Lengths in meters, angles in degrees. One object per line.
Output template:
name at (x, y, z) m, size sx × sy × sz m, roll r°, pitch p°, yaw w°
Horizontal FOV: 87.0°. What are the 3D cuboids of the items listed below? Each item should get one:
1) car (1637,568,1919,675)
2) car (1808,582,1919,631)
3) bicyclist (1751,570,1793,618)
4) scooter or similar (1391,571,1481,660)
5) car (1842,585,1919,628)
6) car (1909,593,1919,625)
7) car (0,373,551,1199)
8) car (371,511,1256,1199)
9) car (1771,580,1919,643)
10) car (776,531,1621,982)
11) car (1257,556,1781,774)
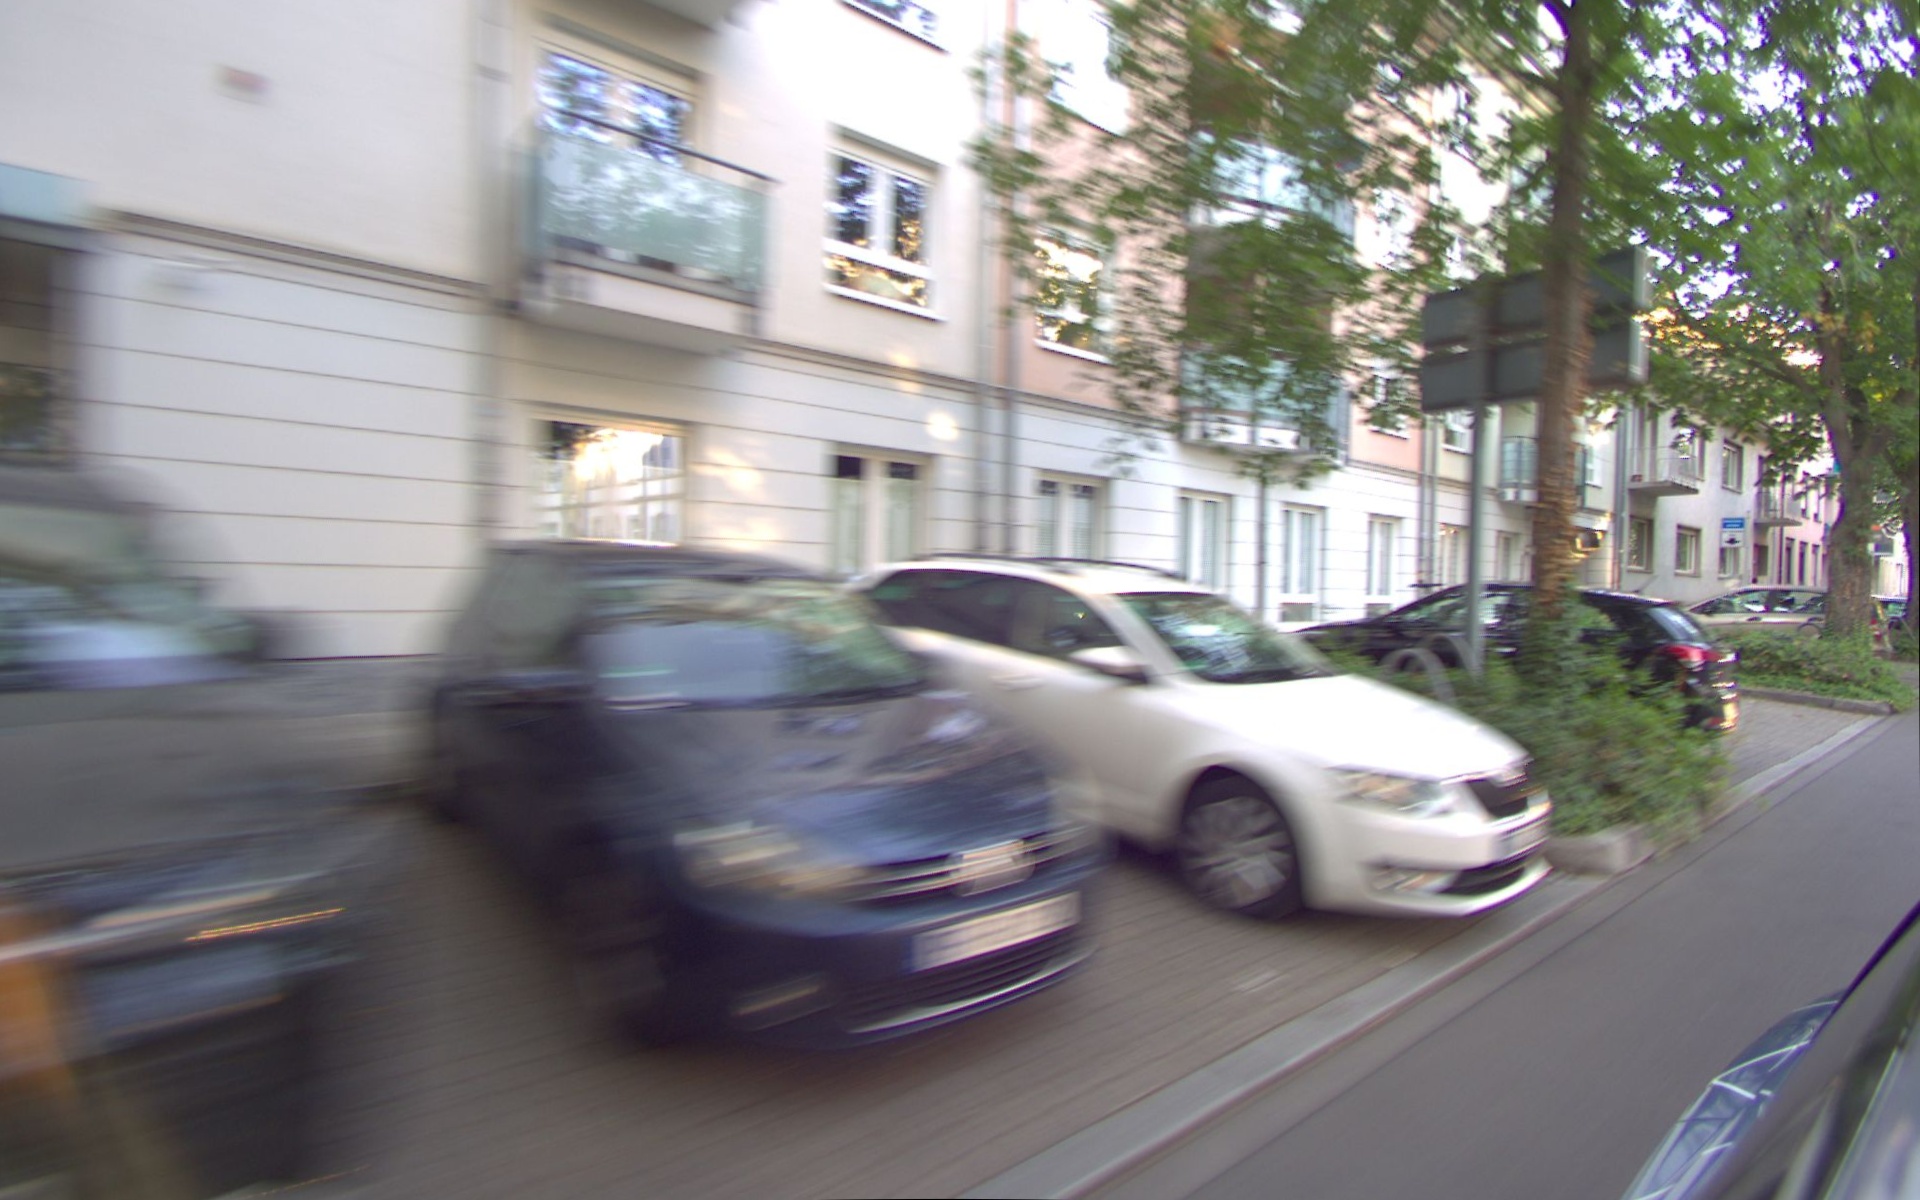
car at (15.502, 0.317, 19.230) m, size 1.883 × 1.604 × 3.978 m, roll 0°, pitch 4°, yaw -41°
car at (31.571, 0.275, 33.771) m, size 1.964 × 1.405 × 4.691 m, roll 0°, pitch 4°, yaw -39°
bicyclist at (28.465, -0.225, 35.468) m, size 1.117 × 1.624 × 0.971 m, roll 0°, pitch 1°, yaw -44°
scooter or similar at (7.020, 0.211, 14.903) m, size 1.431 × 1.217 × 0.656 m, roll 0°, pitch 4°, yaw -44°
car at (36.425, 0.327, 37.868) m, size 2.005 × 1.465 × 4.854 m, roll 0°, pitch 4°, yaw -38°
car at (46.713, 0.480, 46.736) m, size 1.768 × 1.509 × 4.086 m, roll 0°, pitch 1°, yaw -44°
car at (-3.086, 0.316, 2.799) m, size 1.977 × 1.636 × 4.648 m, roll 0°, pitch 5°, yaw -44°
car at (-1.116, 0.452, 4.413) m, size 1.895 × 1.455 × 4.237 m, roll 0°, pitch 5°, yaw -39°
car at (25.326, 0.341, 27.694) m, size 1.973 × 1.444 × 4.475 m, roll 0°, pitch 4°, yaw -36°
car at (0.912, 0.446, 5.940) m, size 1.765 × 1.485 × 4.610 m, roll 0°, pitch 5°, yaw -41°
car at (5.288, 0.438, 9.932) m, size 4.086 × 1.468 × 1.904 m, roll 7°, pitch 5°, yaw 44°
